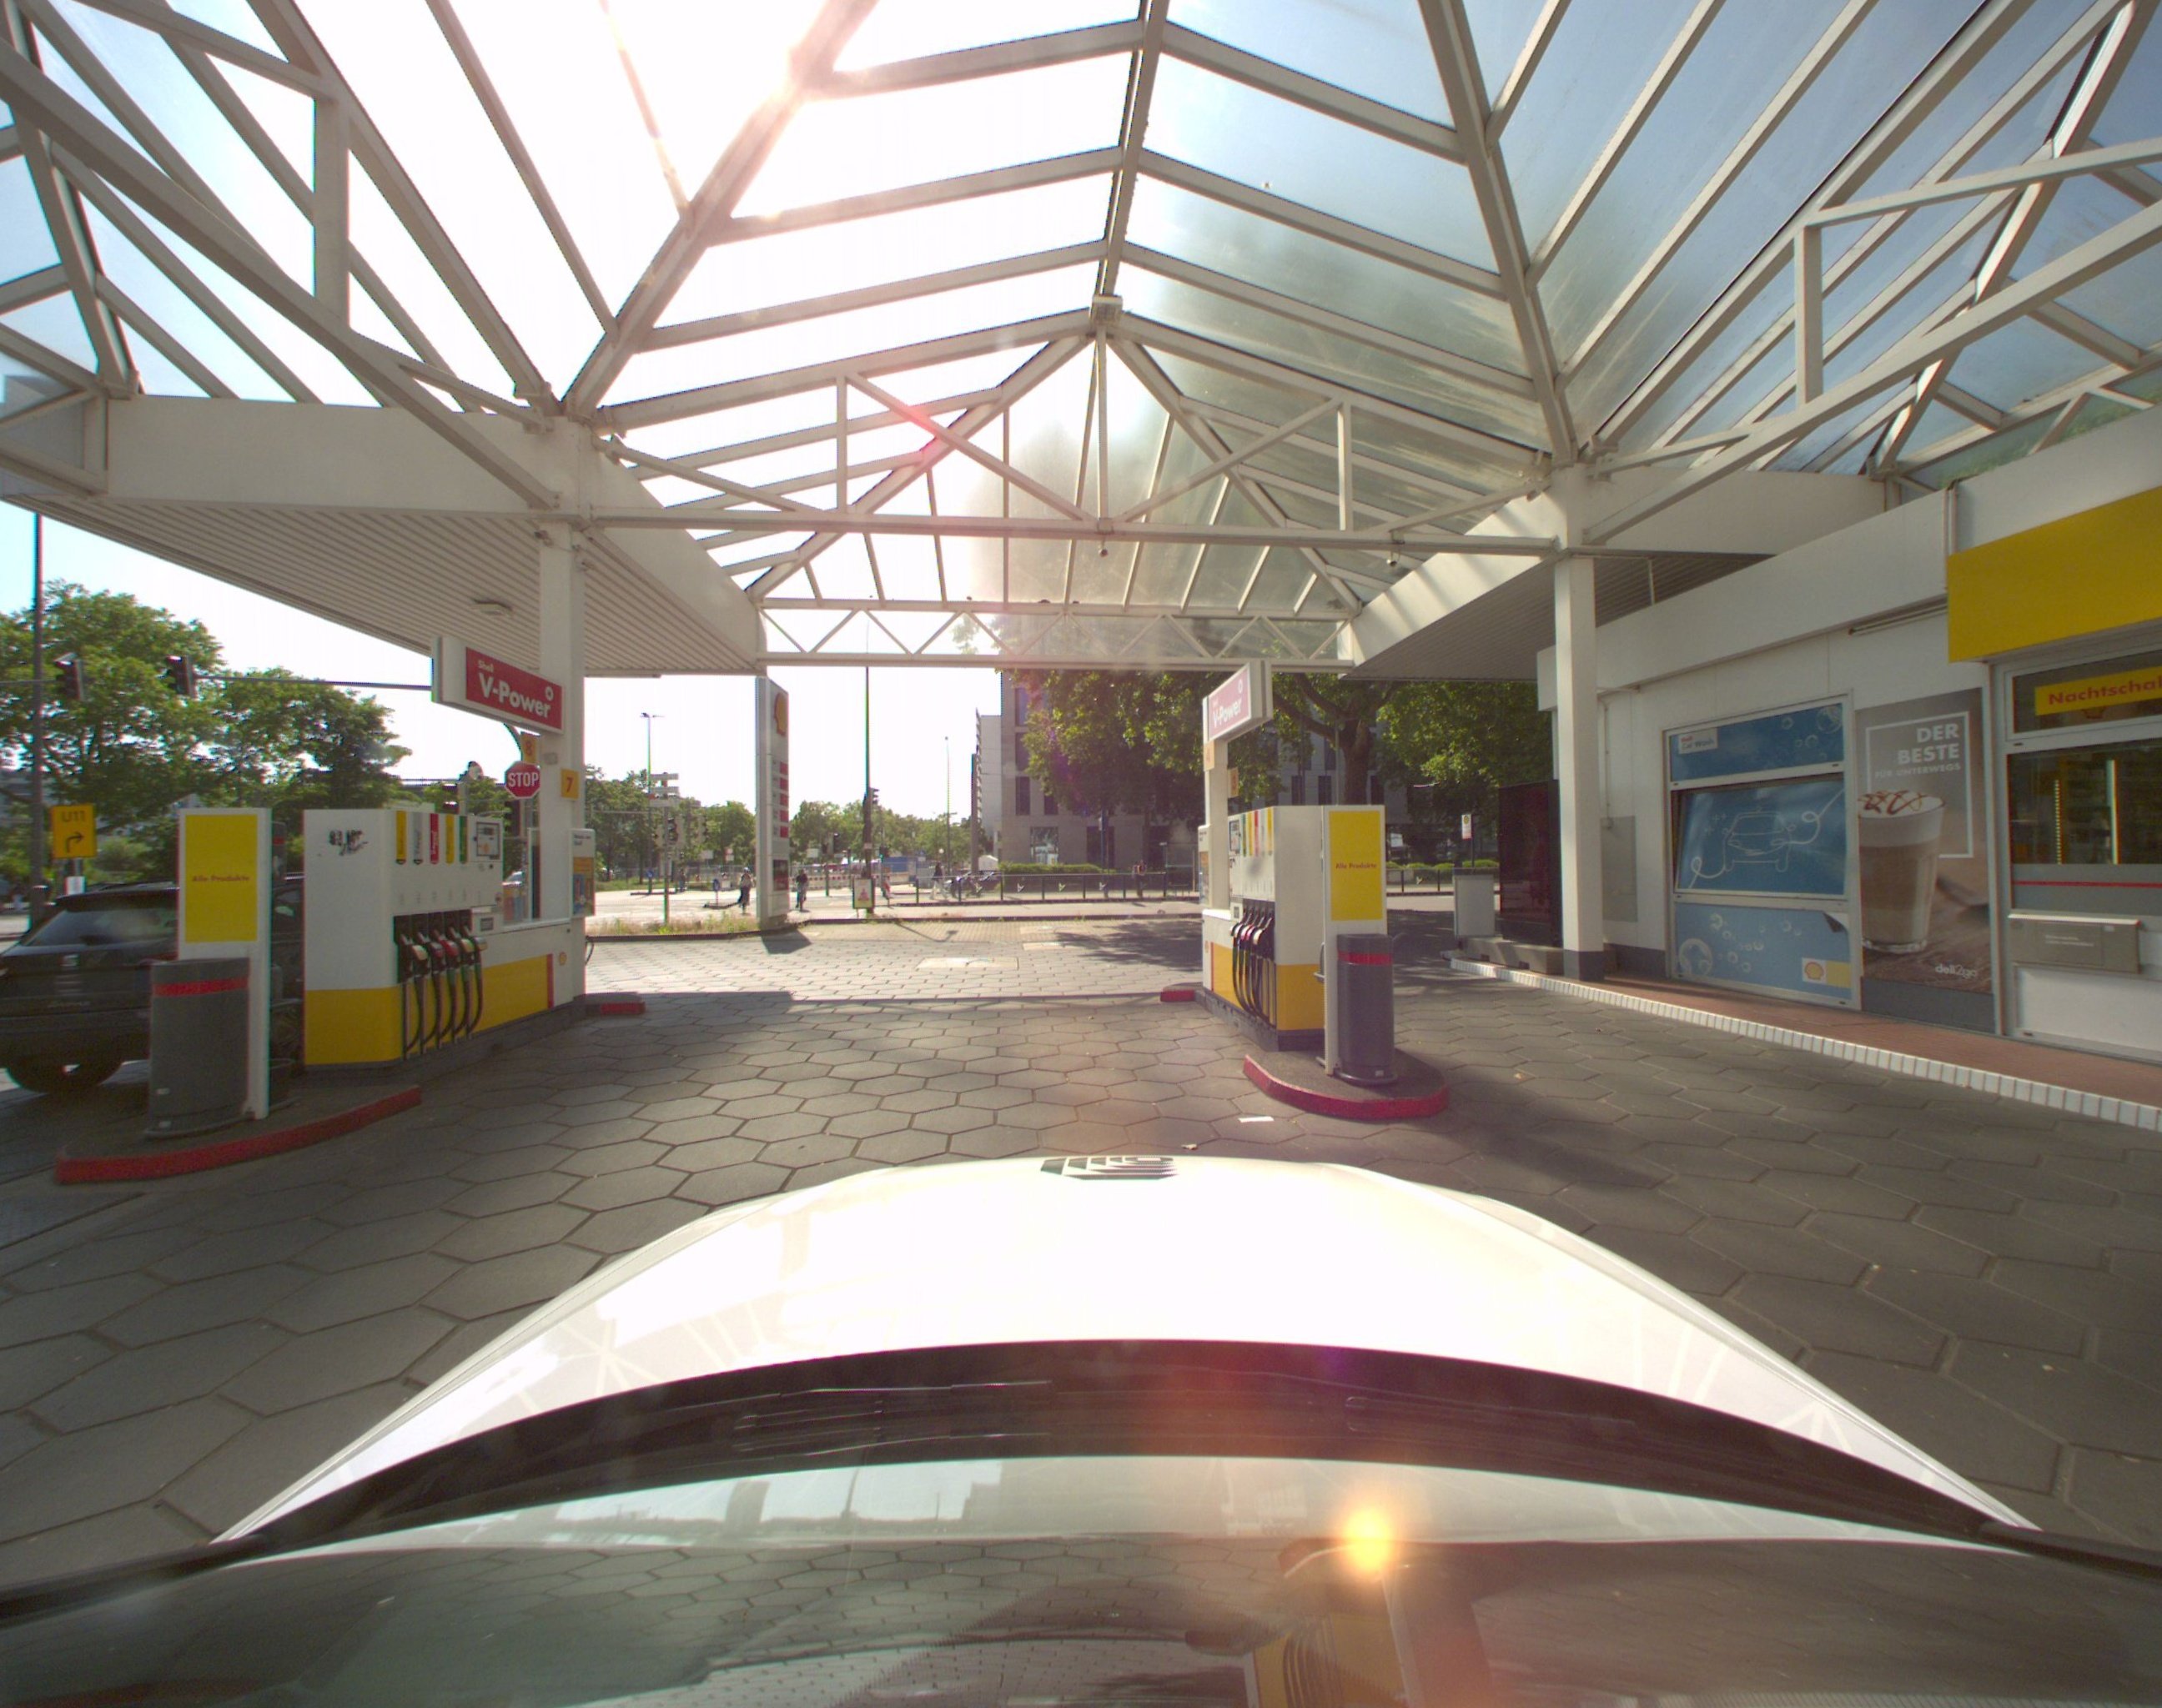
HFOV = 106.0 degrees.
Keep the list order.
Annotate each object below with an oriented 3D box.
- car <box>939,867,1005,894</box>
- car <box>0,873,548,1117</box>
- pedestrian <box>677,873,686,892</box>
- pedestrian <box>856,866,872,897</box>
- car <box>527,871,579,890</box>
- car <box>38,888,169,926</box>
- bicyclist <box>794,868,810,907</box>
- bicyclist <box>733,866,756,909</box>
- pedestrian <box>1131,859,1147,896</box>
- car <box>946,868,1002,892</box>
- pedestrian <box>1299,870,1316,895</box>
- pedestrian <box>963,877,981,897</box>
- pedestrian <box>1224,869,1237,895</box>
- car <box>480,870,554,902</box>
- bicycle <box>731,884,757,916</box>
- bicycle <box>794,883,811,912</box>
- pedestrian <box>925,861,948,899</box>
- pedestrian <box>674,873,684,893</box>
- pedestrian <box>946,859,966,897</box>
[{"bbox_3d":[-6.868,1.638,51.158,3.989,1.552,1.696,-1,-1,-11],"label":"car"},{"bbox_3d":[-6.836,0.972,7.321,1.741,1.532,3.991,-2,-1,-6],"label":"car"},{"bbox_3d":[-30.010,2.133,61.107,0.567,1.469,0.508,0,-1,-31],"label":"pedestrian"},{"bbox_3d":[-11.199,1.408,41.984,0.647,1.540,0.503,-1,-1,3],"label":"pedestrian"},{"bbox_3d":[-54.683,2.741,84.337,3.976,1.816,1.999,-3,-1,-2],"label":"car"},{"bbox_3d":[-54.618,2.946,45.625,4.214,1.805,1.985,-2,-1,-22],"label":"car"},{"bbox_3d":[-11.389,1.355,33.277,0.534,1.544,0.861,0,-2,-14],"label":"bicyclist"},{"bbox_3d":[-12.983,1.285,31.444,0.639,1.580,1.167,0,0,-14],"label":"bicyclist"},{"bbox_3d":[2.567,1.043,36.125,0.583,1.591,0.669,-1,0,-6],"label":"pedestrian"},{"bbox_3d":[-7.209,1.743,54.759,3.683,1.552,1.586,-1,-1,-11],"label":"car"},{"bbox_3d":[10.322,1.287,37.177,0.626,1.138,0.524,-1,-1,1],"label":"pedestrian"},{"bbox_3d":[-4.941,1.476,36.883,0.687,0.880,0.503,-1,-1,3],"label":"pedestrian"},{"bbox_3d":[6.730,1.262,36.718,0.497,1.138,0.524,-1,-1,1],"label":"pedestrian"},{"bbox_3d":[-38.627,2.121,55.940,1.988,2.014,4.445,-3,-1,-1],"label":"car"},{"bbox_3d":[-13.009,1.749,31.507,0.639,1.082,2.016,0,1,-15],"label":"bicycle"},{"bbox_3d":[-11.365,1.762,33.213,0.524,1.082,1.857,0,-1,-15],"label":"bicycle"},{"bbox_3d":[-6.386,1.137,36.016,0.928,1.683,0.503,-1,-1,3],"label":"pedestrian"},{"bbox_3d":[-29.730,2.127,60.222,0.567,1.469,0.508,0,-1,-30],"label":"pedestrian"},{"bbox_3d":[-5.674,1.093,36.931,0.773,1.683,0.503,-1,-1,3],"label":"pedestrian"}]
